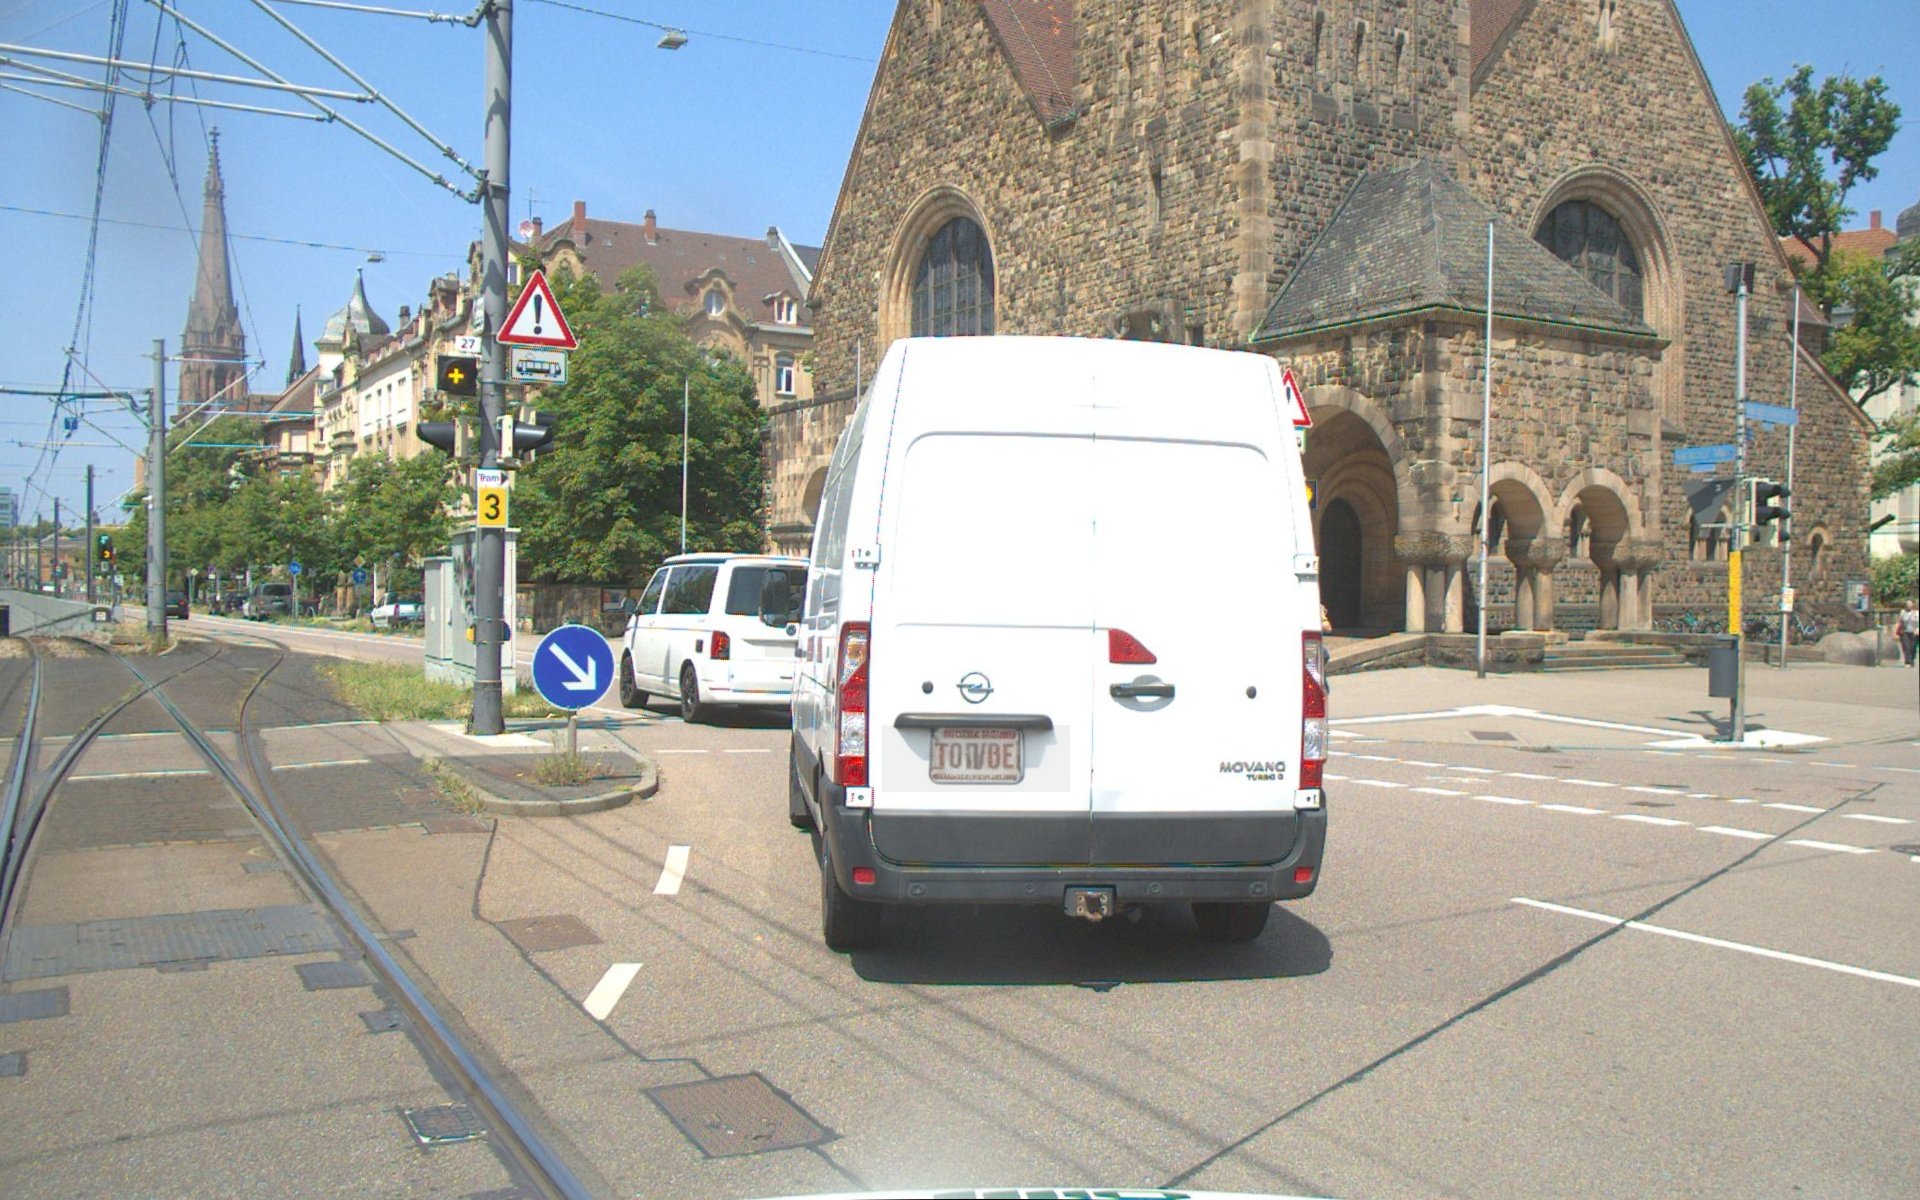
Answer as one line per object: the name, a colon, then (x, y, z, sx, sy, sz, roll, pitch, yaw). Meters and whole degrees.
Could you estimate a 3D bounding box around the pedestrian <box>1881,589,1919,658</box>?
pedestrian: (21.928, 0.543, 38.373, 0.783, 1.586, 0.711, 1, -1, -38)

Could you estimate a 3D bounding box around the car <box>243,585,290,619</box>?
car: (-36.067, 0.094, 86.013, 1.732, 1.735, 3.719, 1, 0, -31)

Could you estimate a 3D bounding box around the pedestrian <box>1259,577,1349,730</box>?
pedestrian: (4.265, 0.651, 20.515, 0.732, 1.854, 0.827, 1, 0, -24)

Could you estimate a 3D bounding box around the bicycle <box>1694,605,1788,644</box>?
bicycle: (21.987, 0.677, 46.631, 0.696, 1.029, 2.474, 0, 1, -29)

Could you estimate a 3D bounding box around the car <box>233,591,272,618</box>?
car: (-43.886, 0.250, 102.537, 1.732, 1.606, 3.719, 1, 0, -31)

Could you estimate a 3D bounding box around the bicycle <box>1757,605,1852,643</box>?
bicycle: (24.160, 0.676, 47.361, 0.696, 1.029, 2.474, 0, 1, -29)

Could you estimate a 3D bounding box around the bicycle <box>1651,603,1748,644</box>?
bicycle: (19.853, 0.611, 44.473, 0.696, 1.029, 2.474, 0, 1, -29)

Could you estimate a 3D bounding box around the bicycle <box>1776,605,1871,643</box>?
bicycle: (24.988, 0.672, 47.926, 0.696, 1.029, 2.474, 0, 1, -29)

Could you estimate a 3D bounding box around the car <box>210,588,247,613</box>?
car: (-47.170, 0.018, 106.643, 1.732, 1.606, 3.719, 1, 0, -31)

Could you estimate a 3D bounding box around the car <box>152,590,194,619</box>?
car: (-43.144, 0.235, 90.651, 1.732, 1.566, 3.719, 1, 0, -31)

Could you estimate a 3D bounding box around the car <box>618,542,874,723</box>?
car: (-2.757, 0.362, 20.463, 1.893, 1.978, 4.228, 1, 0, -26)

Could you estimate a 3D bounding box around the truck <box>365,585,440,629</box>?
truck: (-21.399, 0.287, 63.401, 1.772, 1.552, 4.418, -3, 1, -31)

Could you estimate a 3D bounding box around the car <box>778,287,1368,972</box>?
car: (0.179, 0.124, 8.705, 2.077, 2.502, 5.045, 1, 0, -8)

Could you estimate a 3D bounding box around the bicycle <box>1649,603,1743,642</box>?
bicycle: (20.402, 0.613, 45.913, 0.696, 1.029, 2.474, 0, 1, -29)
